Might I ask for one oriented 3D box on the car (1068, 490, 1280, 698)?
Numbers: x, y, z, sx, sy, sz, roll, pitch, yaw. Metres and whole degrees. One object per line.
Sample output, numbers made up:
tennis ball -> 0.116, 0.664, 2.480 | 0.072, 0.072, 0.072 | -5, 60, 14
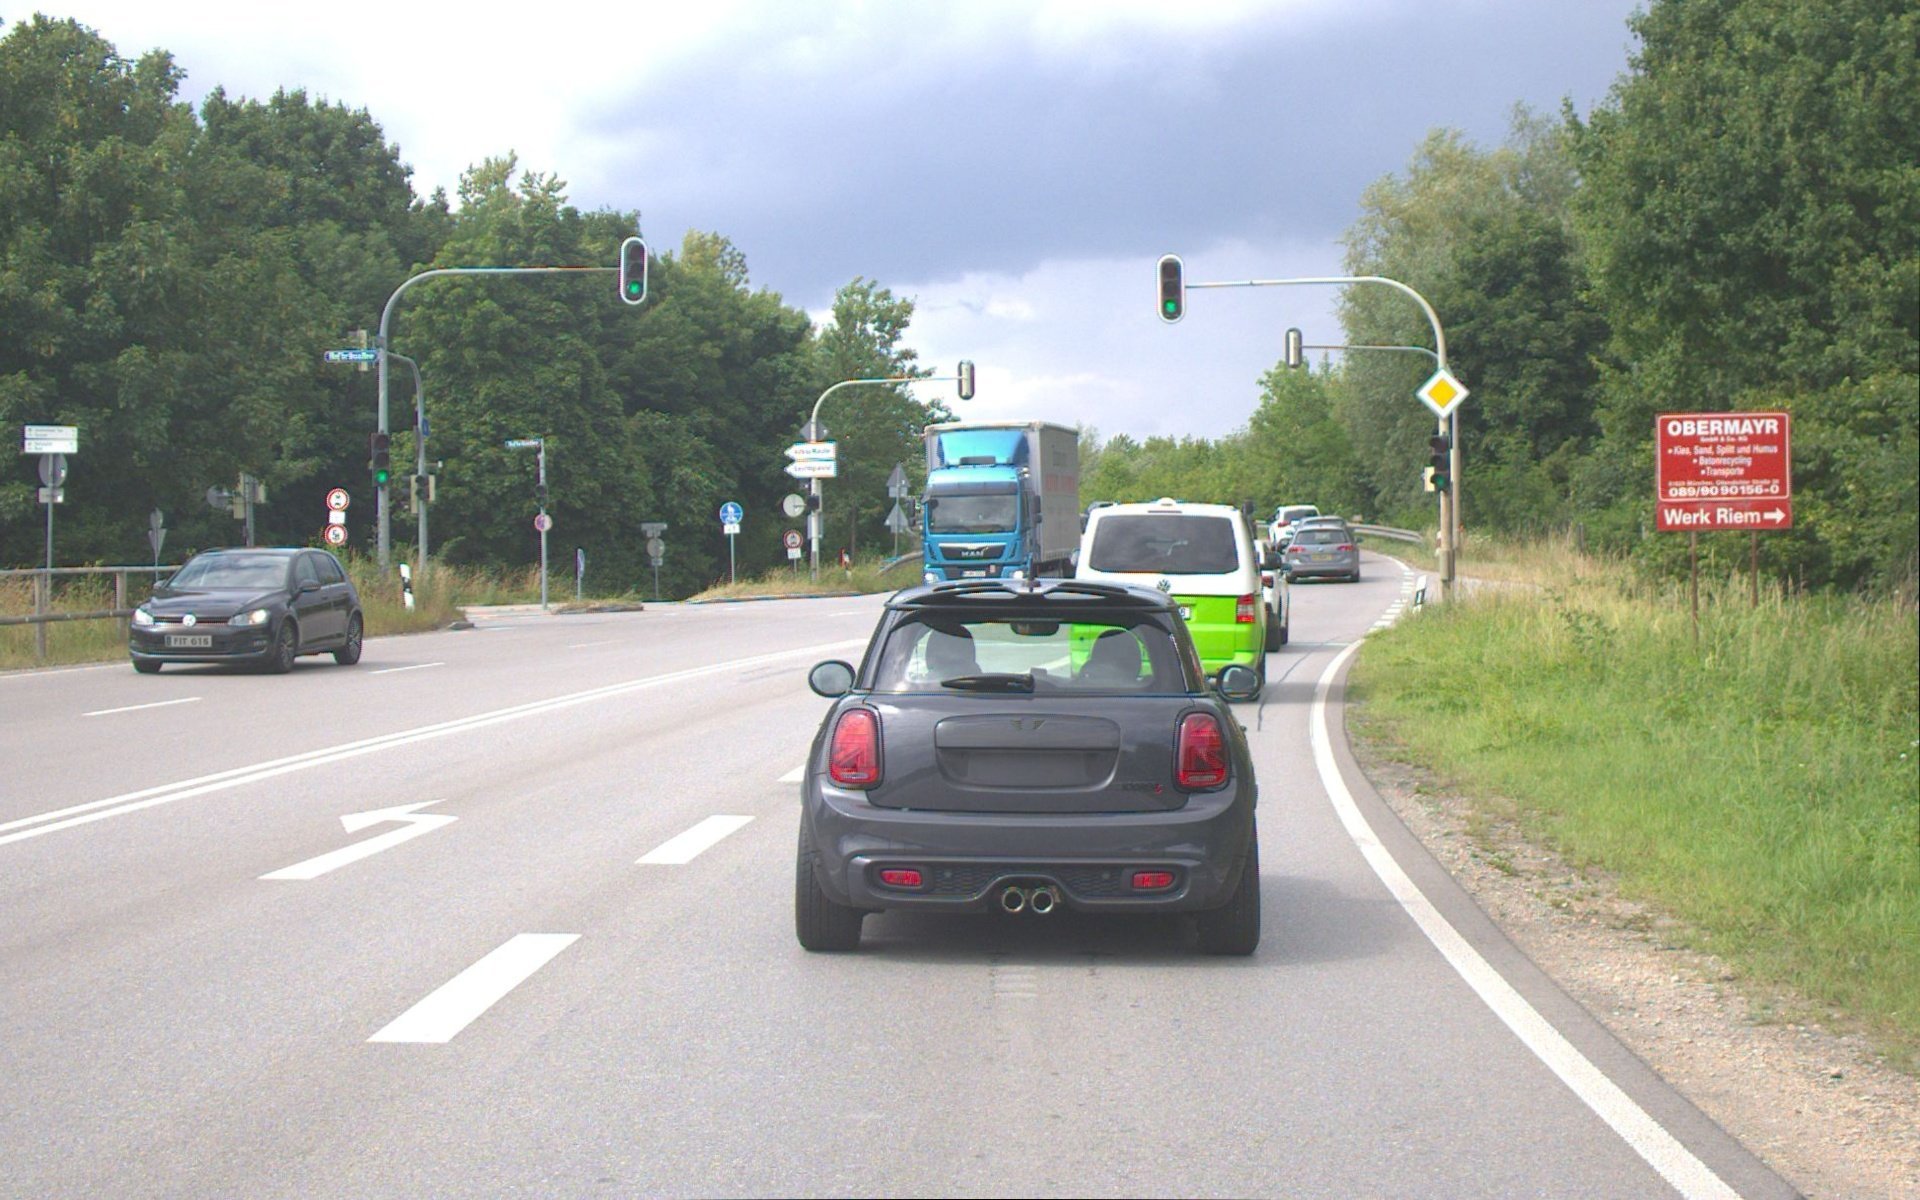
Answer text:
car -> 2.228, -0.086, 34.921 | 1.845, 1.980, 3.840 | 1, 1, 8

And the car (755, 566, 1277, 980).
car -> 0.247, 0.596, 14.168 | 1.845, 1.423, 3.841 | 1, 1, 1

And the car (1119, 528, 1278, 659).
car -> 3.262, -0.108, 46.401 | 1.994, 1.678, 3.999 | 0, 1, 6

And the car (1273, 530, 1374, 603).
car -> 9.001, -0.813, 84.954 | 1.995, 1.678, 3.997 | 1, -1, 13

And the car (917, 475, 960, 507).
car -> -1.162, -5.805, 182.672 | 1.993, 1.684, 4.001 | -1, 2, -4

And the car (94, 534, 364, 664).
car -> -8.406, -0.040, 39.879 | 1.946, 1.436, 3.999 | 0, 1, 5

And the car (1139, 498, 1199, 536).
car -> 9.497, -3.761, 156.568 | 1.993, 1.690, 4.487 | 0, 1, -6

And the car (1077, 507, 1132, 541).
car -> 7.293, -3.805, 173.662 | 1.993, 1.690, 4.487 | 0, 1, -8

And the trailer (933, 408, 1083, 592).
trailer -> 1.188, -2.273, 79.863 | 2.528, 4.087, 6.732 | 0, 1, 9

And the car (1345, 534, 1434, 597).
car -> 12.276, -0.975, 98.130 | 1.995, 1.678, 3.974 | 1, -1, 15

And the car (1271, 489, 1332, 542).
car -> 11.970, -2.959, 120.641 | 1.994, 1.678, 3.999 | 1, -1, 4

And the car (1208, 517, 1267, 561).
car -> 11.384, -2.491, 141.132 | 1.993, 1.678, 4.000 | 1, -1, -1

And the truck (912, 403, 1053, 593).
truck -> 0.536, -2.223, 75.988 | 2.541, 4.082, 3.999 | 0, 1, 9
